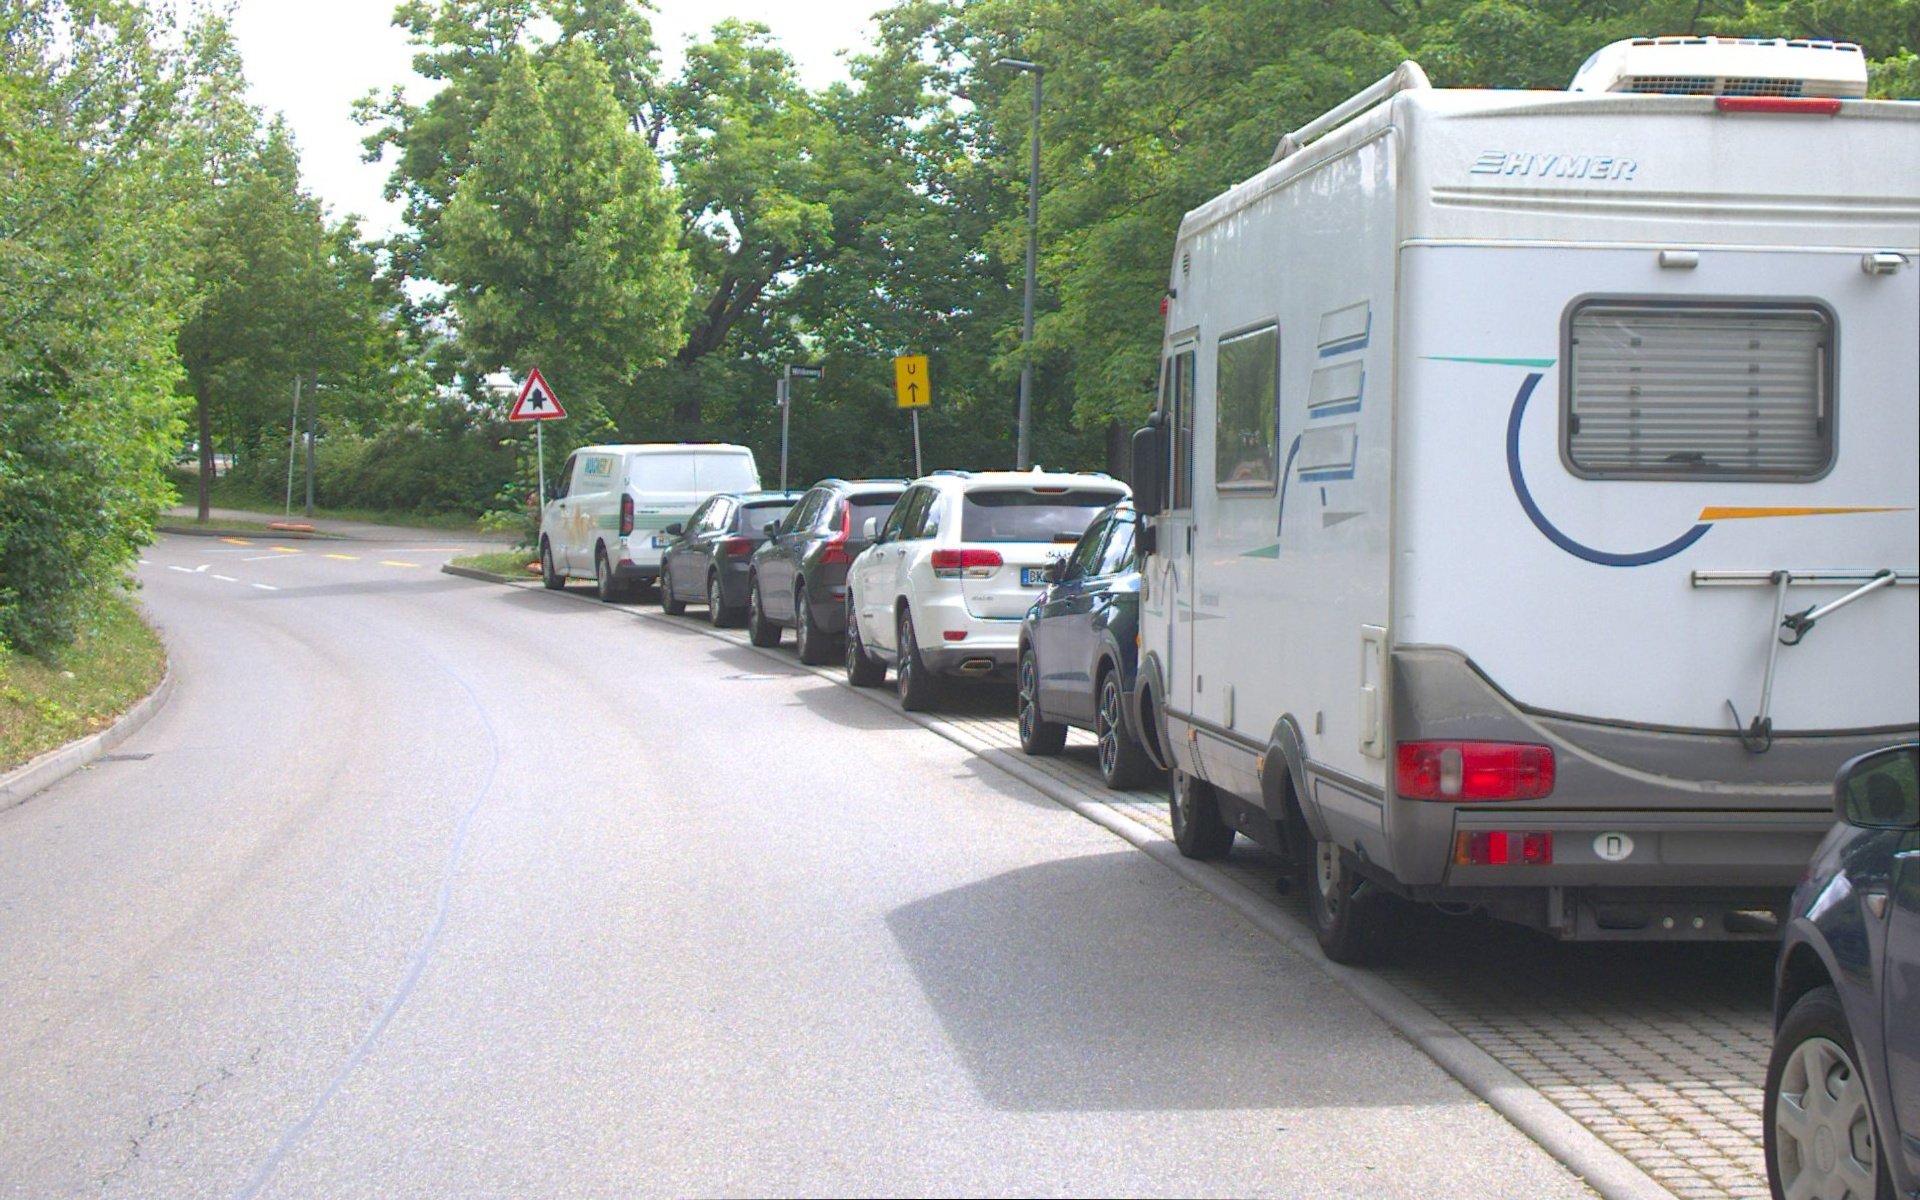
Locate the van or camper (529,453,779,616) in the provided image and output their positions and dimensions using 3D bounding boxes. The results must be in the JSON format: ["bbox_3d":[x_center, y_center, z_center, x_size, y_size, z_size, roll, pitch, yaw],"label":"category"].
[{"bbox_3d":[-4.005,-0.907,44.104,1.993,1.913,5.268,-1,3,-19],"label":"van or camper"}]

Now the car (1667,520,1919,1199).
[{"bbox_3d":[2.463,0.626,5.190,1.728,1.514,3.890,0,0,-4],"label":"car"}]

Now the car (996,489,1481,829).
[{"bbox_3d":[1.431,0.248,19.271,1.710,1.586,4.001,5,1,-9],"label":"car"}]

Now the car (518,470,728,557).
[{"bbox_3d":[-6.117,-1.576,62.282,3.535,1.475,1.783,0,4,-15],"label":"car"}]

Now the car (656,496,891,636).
[{"bbox_3d":[-2.147,-0.418,38.490,1.797,1.459,4.002,0,2,-15],"label":"car"}]

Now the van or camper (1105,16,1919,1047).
[{"bbox_3d":[2.098,-0.254,12.766,2.332,2.859,6.151,2,1,-4],"label":"van or camper"}]

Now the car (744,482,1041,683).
[{"bbox_3d":[-0.709,-0.229,31.890,1.993,1.620,4.280,-2,3,-11],"label":"car"}]

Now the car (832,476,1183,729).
[{"bbox_3d":[0.249,-0.058,26.086,1.871,1.683,4.581,2,2,-9],"label":"car"}]
